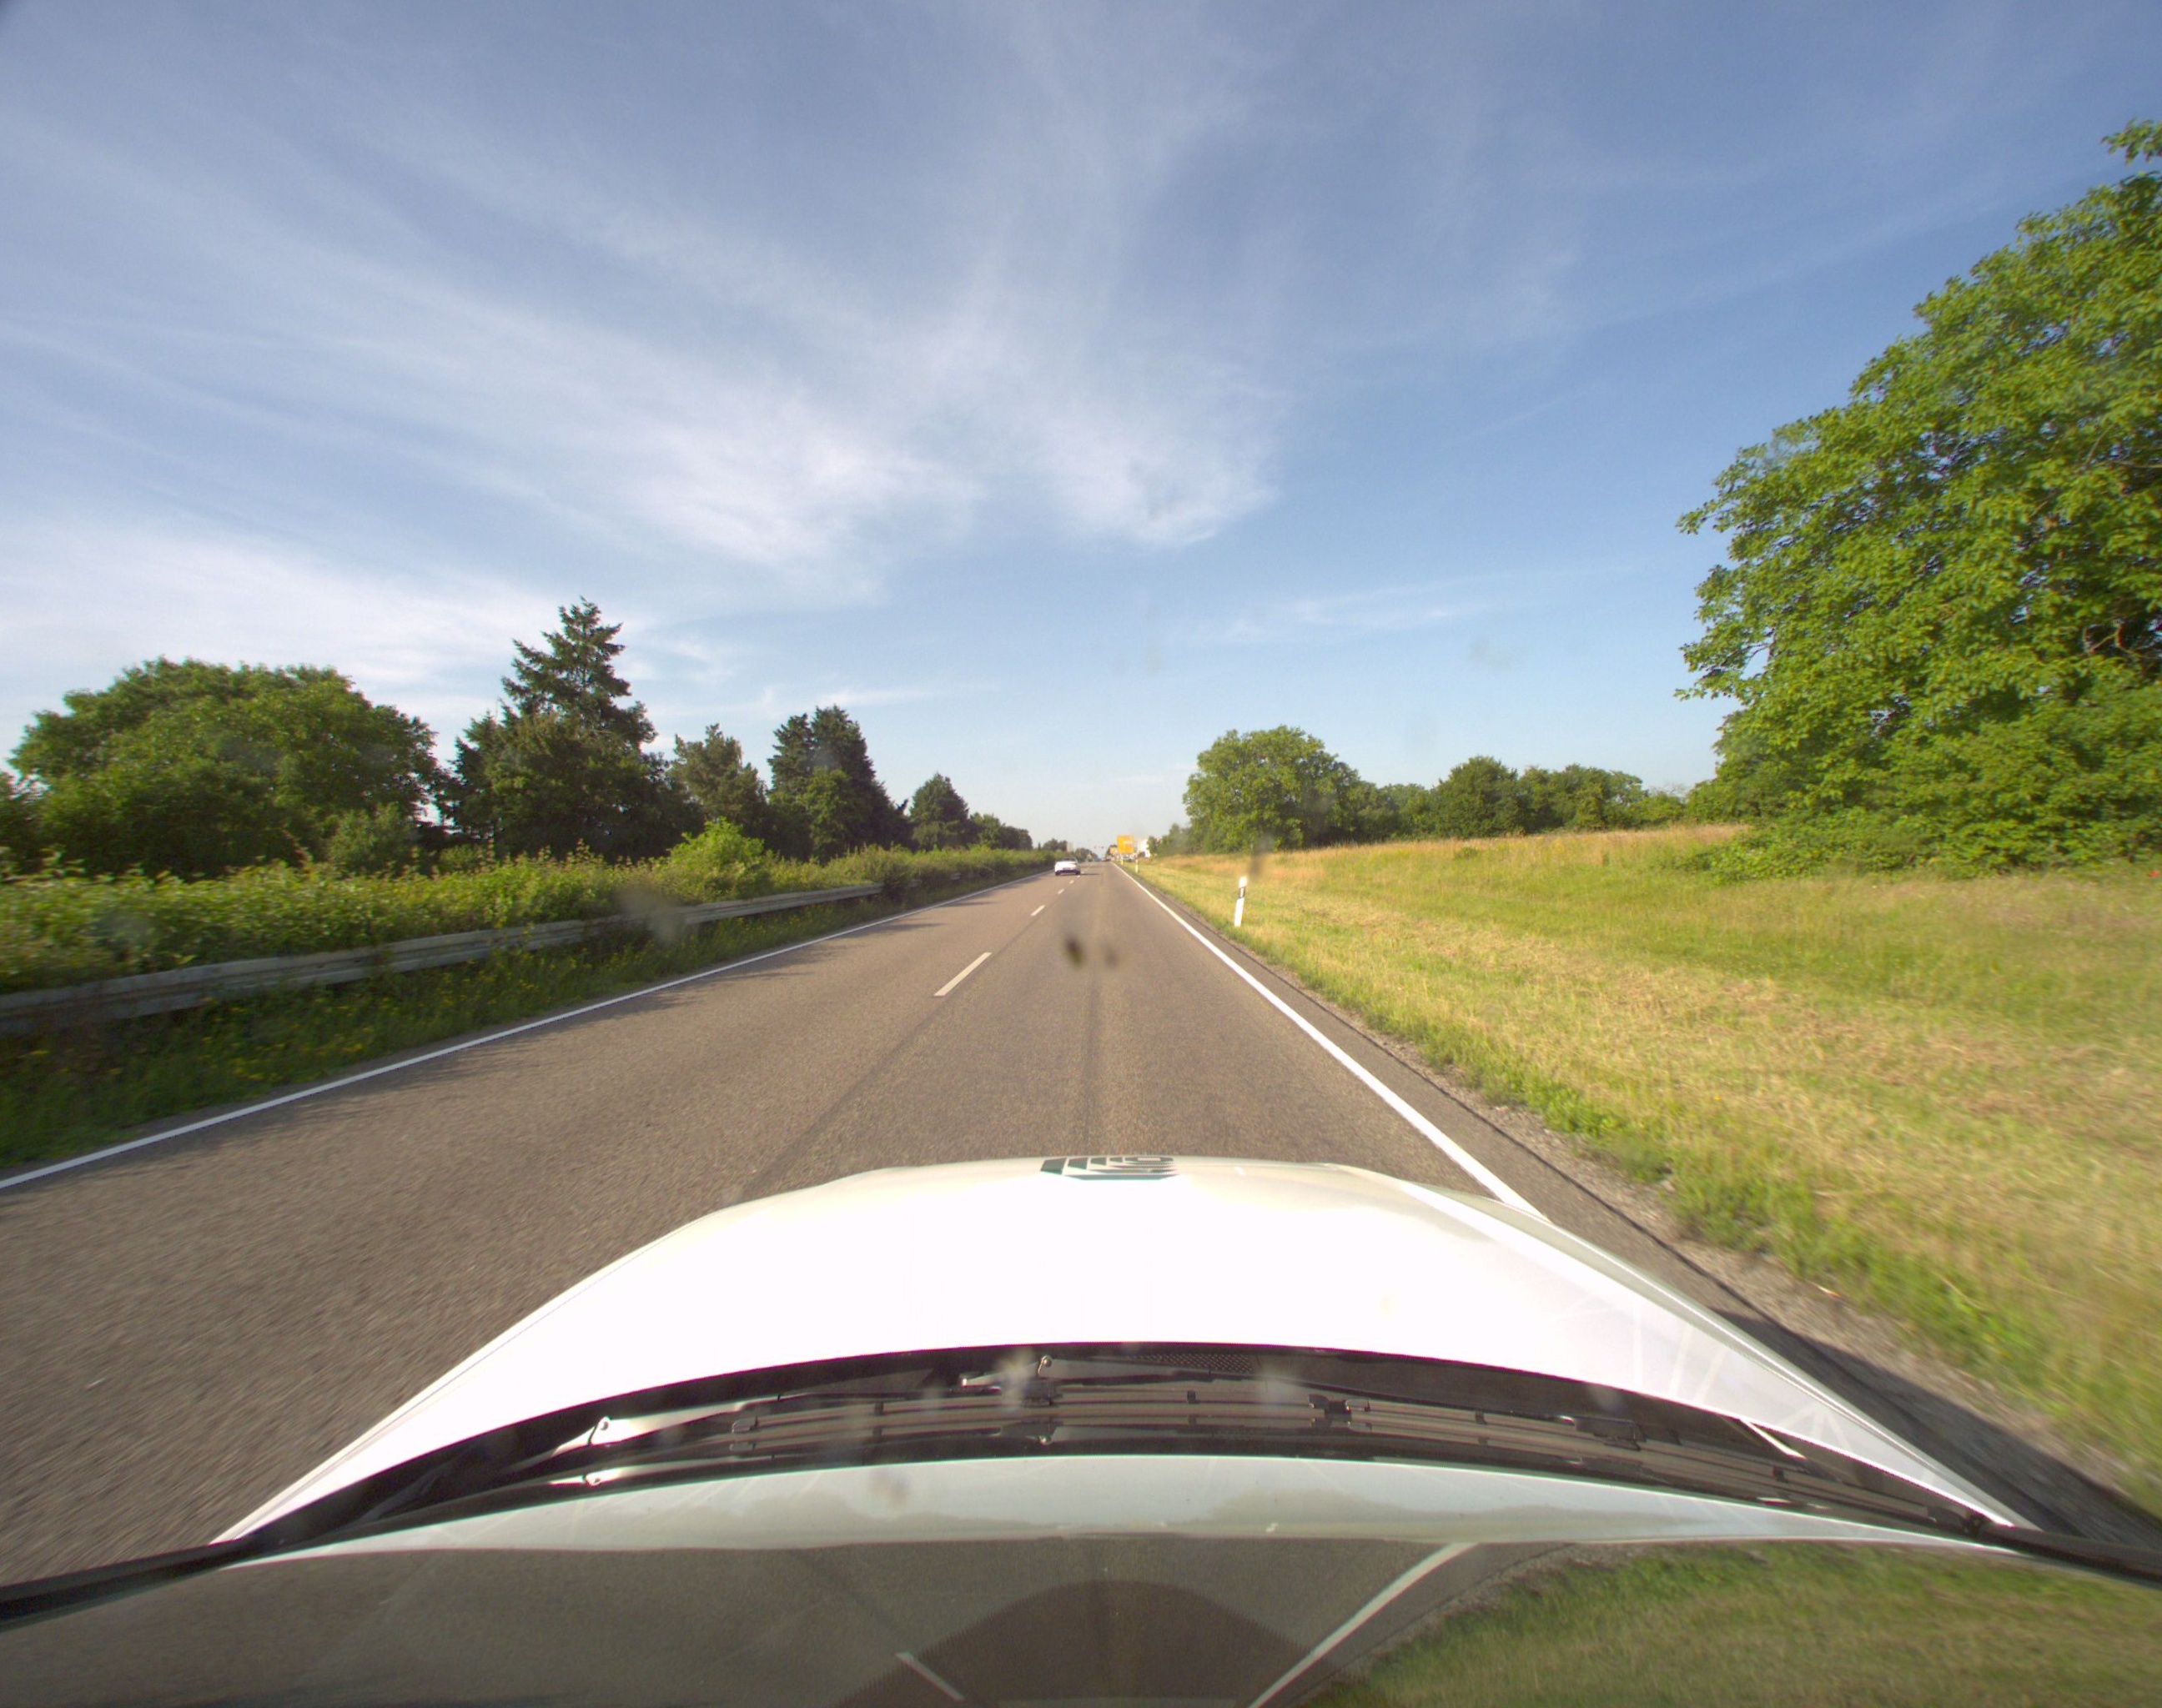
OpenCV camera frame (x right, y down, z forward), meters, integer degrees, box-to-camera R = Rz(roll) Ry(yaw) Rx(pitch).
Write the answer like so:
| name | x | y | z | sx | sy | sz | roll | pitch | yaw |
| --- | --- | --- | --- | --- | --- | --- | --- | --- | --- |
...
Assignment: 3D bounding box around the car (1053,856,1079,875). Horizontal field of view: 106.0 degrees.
| name | x | y | z | sx | sy | sz | roll | pitch | yaw |
| --- | --- | --- | --- | --- | --- | --- | --- | --- | --- |
| car | -1.138 | 0.869 | 63.488 | 1.903 | 1.422 | 4.000 | -1 | 0 | 1 |
